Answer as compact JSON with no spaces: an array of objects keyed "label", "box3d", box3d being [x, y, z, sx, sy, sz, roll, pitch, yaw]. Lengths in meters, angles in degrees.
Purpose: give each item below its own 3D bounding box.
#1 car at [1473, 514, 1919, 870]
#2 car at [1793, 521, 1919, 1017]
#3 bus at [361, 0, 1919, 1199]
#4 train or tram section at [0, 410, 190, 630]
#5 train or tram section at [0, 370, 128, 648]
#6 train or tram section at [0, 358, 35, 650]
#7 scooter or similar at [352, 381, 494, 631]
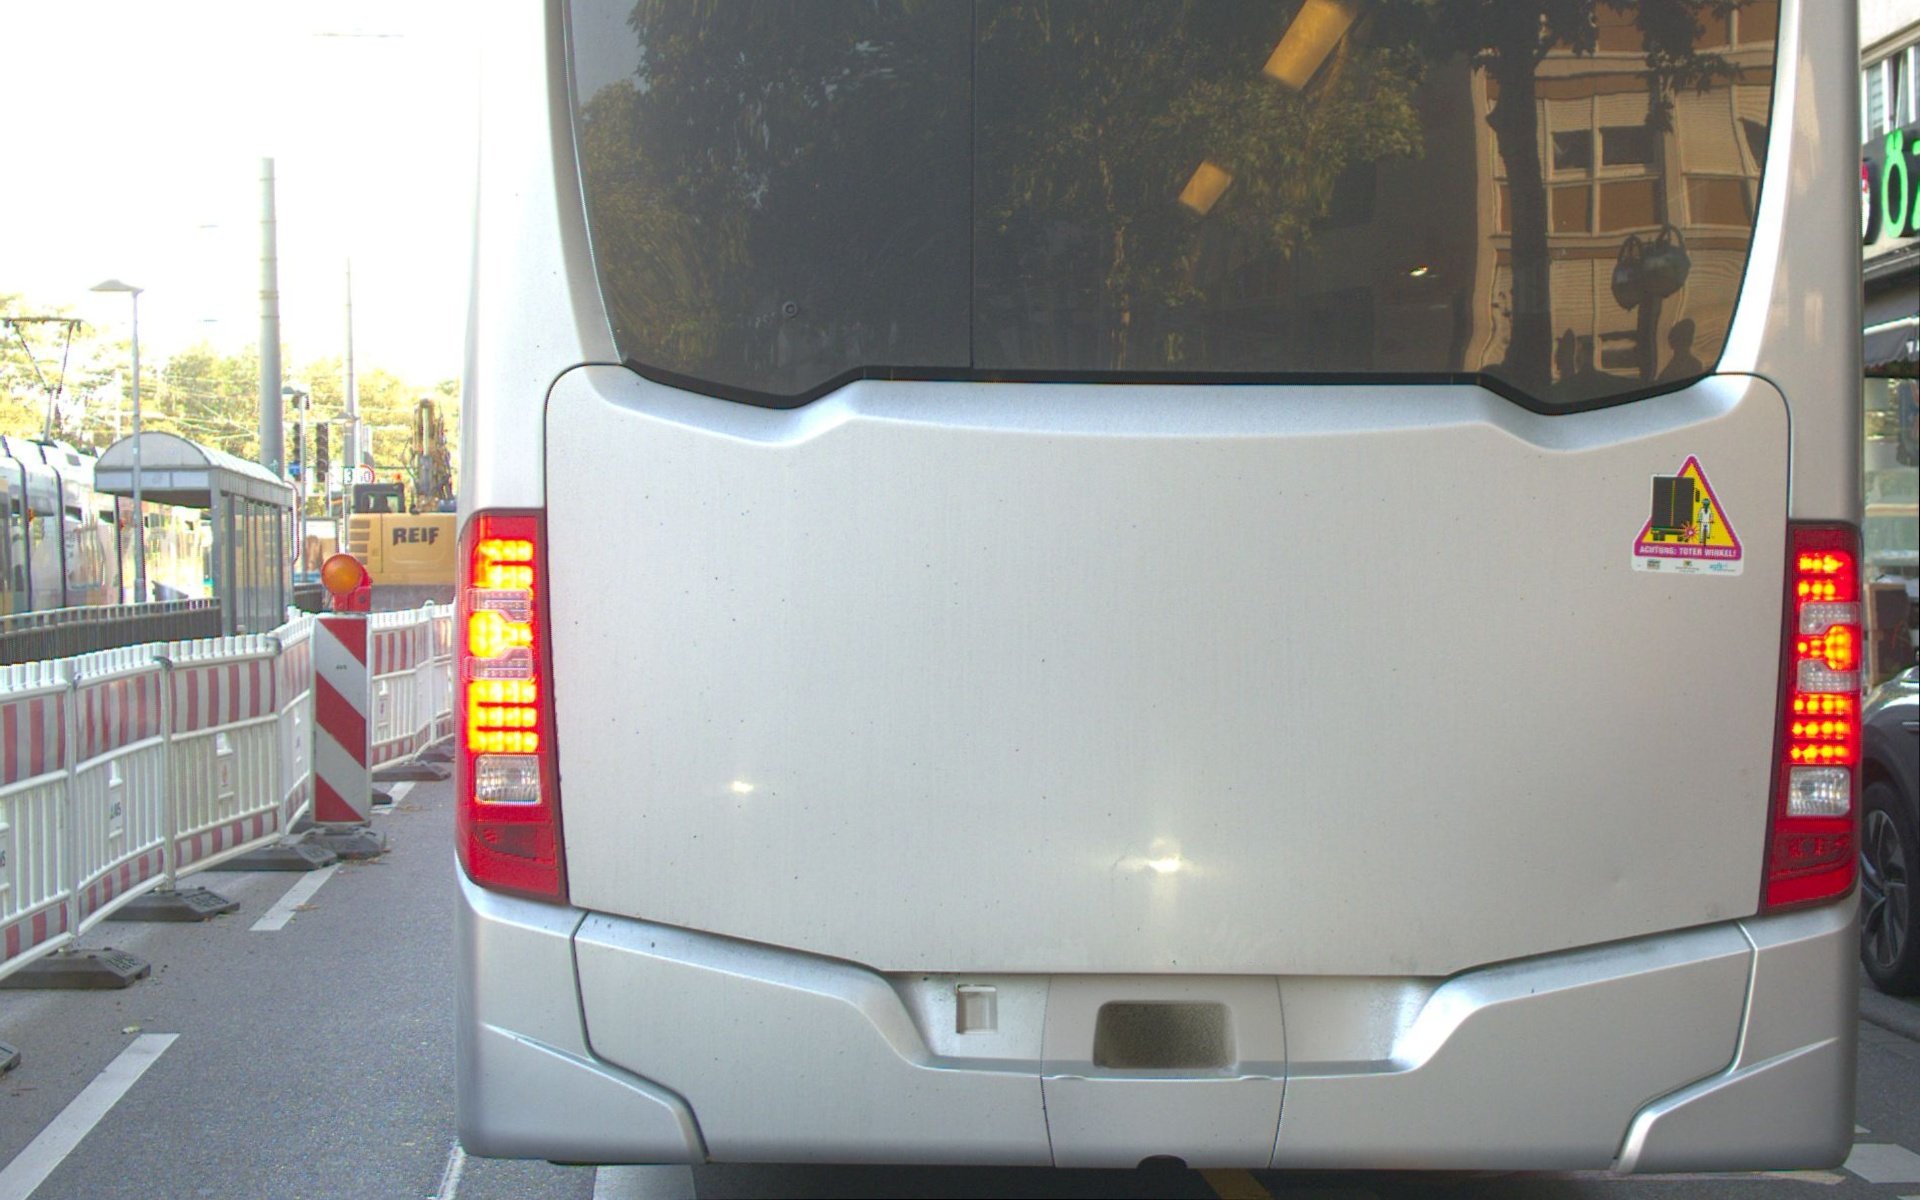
[{"label":"car","box3d":[4.259,0.377,18.256,1.993,1.576,4.369,-3,1,-5]},{"label":"car","box3d":[4.141,0.526,9.959,1.993,1.576,4.369,-3,1,-5]},{"label":"bus","box3d":[0.294,-0.212,9.677,2.611,3.115,7.993,1,1,-1]},{"label":"train or tram section","box3d":[-15.564,-1.349,61.149,2.686,3.521,11.585,1,1,-8]},{"label":"train or tram section","box3d":[-14.017,-1.244,49.660,2.686,3.546,11.585,1,1,-8]},{"label":"train or tram section","box3d":[-12.601,-1.136,38.029,2.686,3.521,11.774,1,1,-6]},{"label":"scooter or similar","box3d":[-10.028,-1.730,64.588,2.468,4.455,5.974,-1,1,-8]}]
